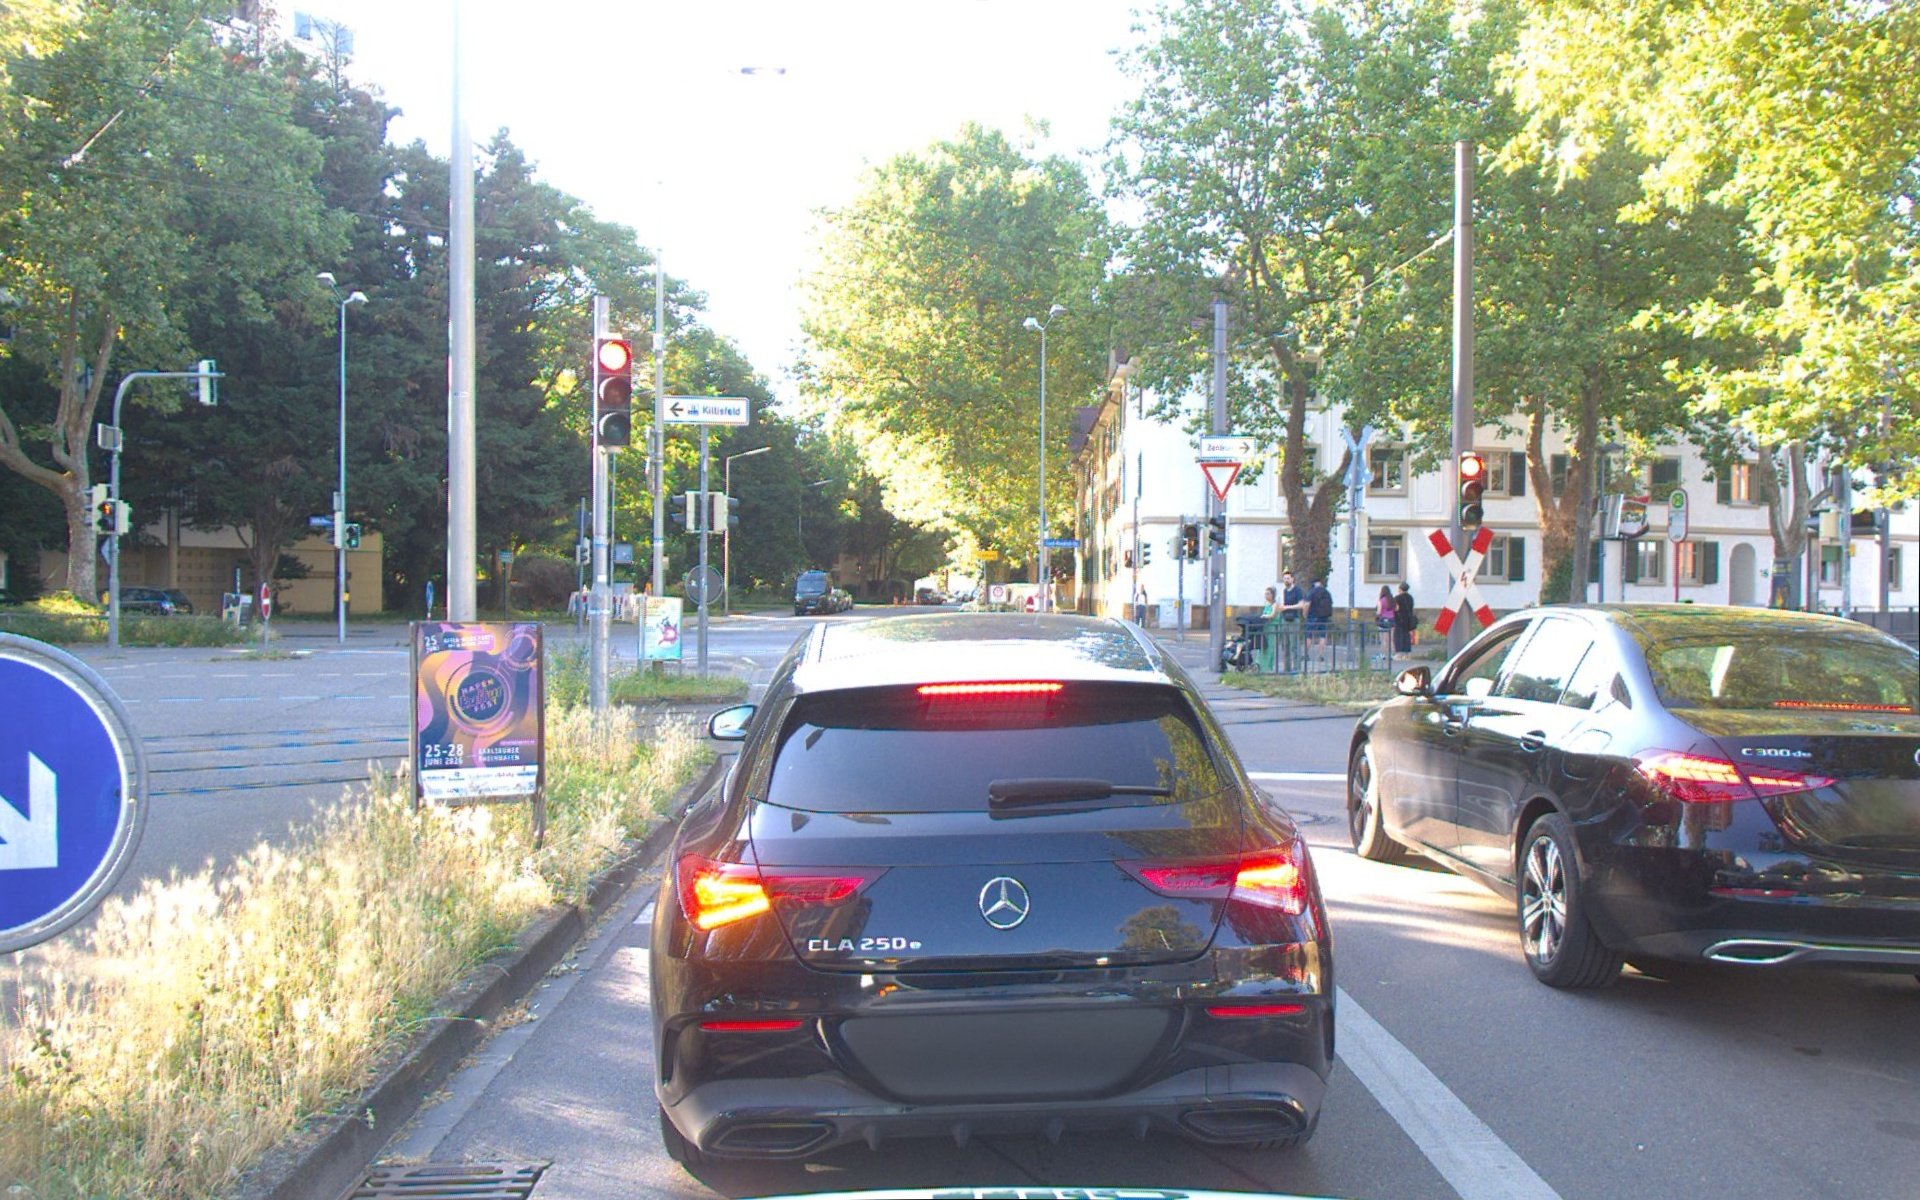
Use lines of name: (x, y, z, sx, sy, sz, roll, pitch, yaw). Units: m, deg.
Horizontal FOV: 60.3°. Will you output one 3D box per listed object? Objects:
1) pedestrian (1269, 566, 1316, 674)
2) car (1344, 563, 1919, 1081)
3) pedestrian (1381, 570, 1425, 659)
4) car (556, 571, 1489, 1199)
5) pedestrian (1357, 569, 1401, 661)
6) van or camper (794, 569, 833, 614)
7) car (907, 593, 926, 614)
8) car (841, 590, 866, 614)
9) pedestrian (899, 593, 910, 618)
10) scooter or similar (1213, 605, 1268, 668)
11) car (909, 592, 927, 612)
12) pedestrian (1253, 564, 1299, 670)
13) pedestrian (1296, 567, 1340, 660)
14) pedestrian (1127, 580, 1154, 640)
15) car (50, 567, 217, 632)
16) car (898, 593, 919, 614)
pedestrian: (6.068, 0.360, 30.206, 0.669, 1.951, 0.707, 1, -1, -3)
car: (3.156, 0.651, 7.295, 1.851, 1.516, 4.382, 1, 2, 0)
pedestrian: (9.857, 0.317, 36.814, 0.691, 1.951, 0.838, 1, -1, -4)
car: (0.140, 0.707, 5.325, 1.851, 1.475, 4.001, 1, 2, 0)
pedestrian: (9.067, 0.330, 35.802, 0.691, 1.951, 0.838, 1, -1, -4)
van or camper: (-8.794, -0.488, 99.611, 1.953, 2.586, 4.650, 1, 0, -1)
car: (-3.955, 0.313, 150.318, 1.698, 1.796, 4.018, 1, 0, -1)
car: (-8.134, 0.141, 126.276, 1.698, 1.796, 3.970, 1, 0, -1)
pedestrian: (-4.366, 0.451, 129.953, 0.692, 1.951, 0.837, 1, -1, -11)
scooter or similar: (5.182, 0.670, 30.573, 0.812, 1.124, 0.808, 1, 0, -6)
car: (-4.004, 0.202, 158.401, 1.698, 1.796, 4.018, 1, 0, -1)
pedestrian: (5.911, 0.307, 30.975, 0.669, 1.951, 0.706, 1, -1, -5)
pedestrian: (7.665, 0.286, 35.434, 0.691, 1.951, 0.838, 1, -1, -4)
pedestrian: (5.907, 0.325, 54.189, 0.691, 1.951, 0.838, 1, -1, -4)
car: (-24.378, -0.012, 48.849, 3.902, 1.805, 2.001, 1, 0, 7)
car: (-4.530, 0.345, 145.488, 1.698, 1.796, 4.018, 1, 0, -1)
